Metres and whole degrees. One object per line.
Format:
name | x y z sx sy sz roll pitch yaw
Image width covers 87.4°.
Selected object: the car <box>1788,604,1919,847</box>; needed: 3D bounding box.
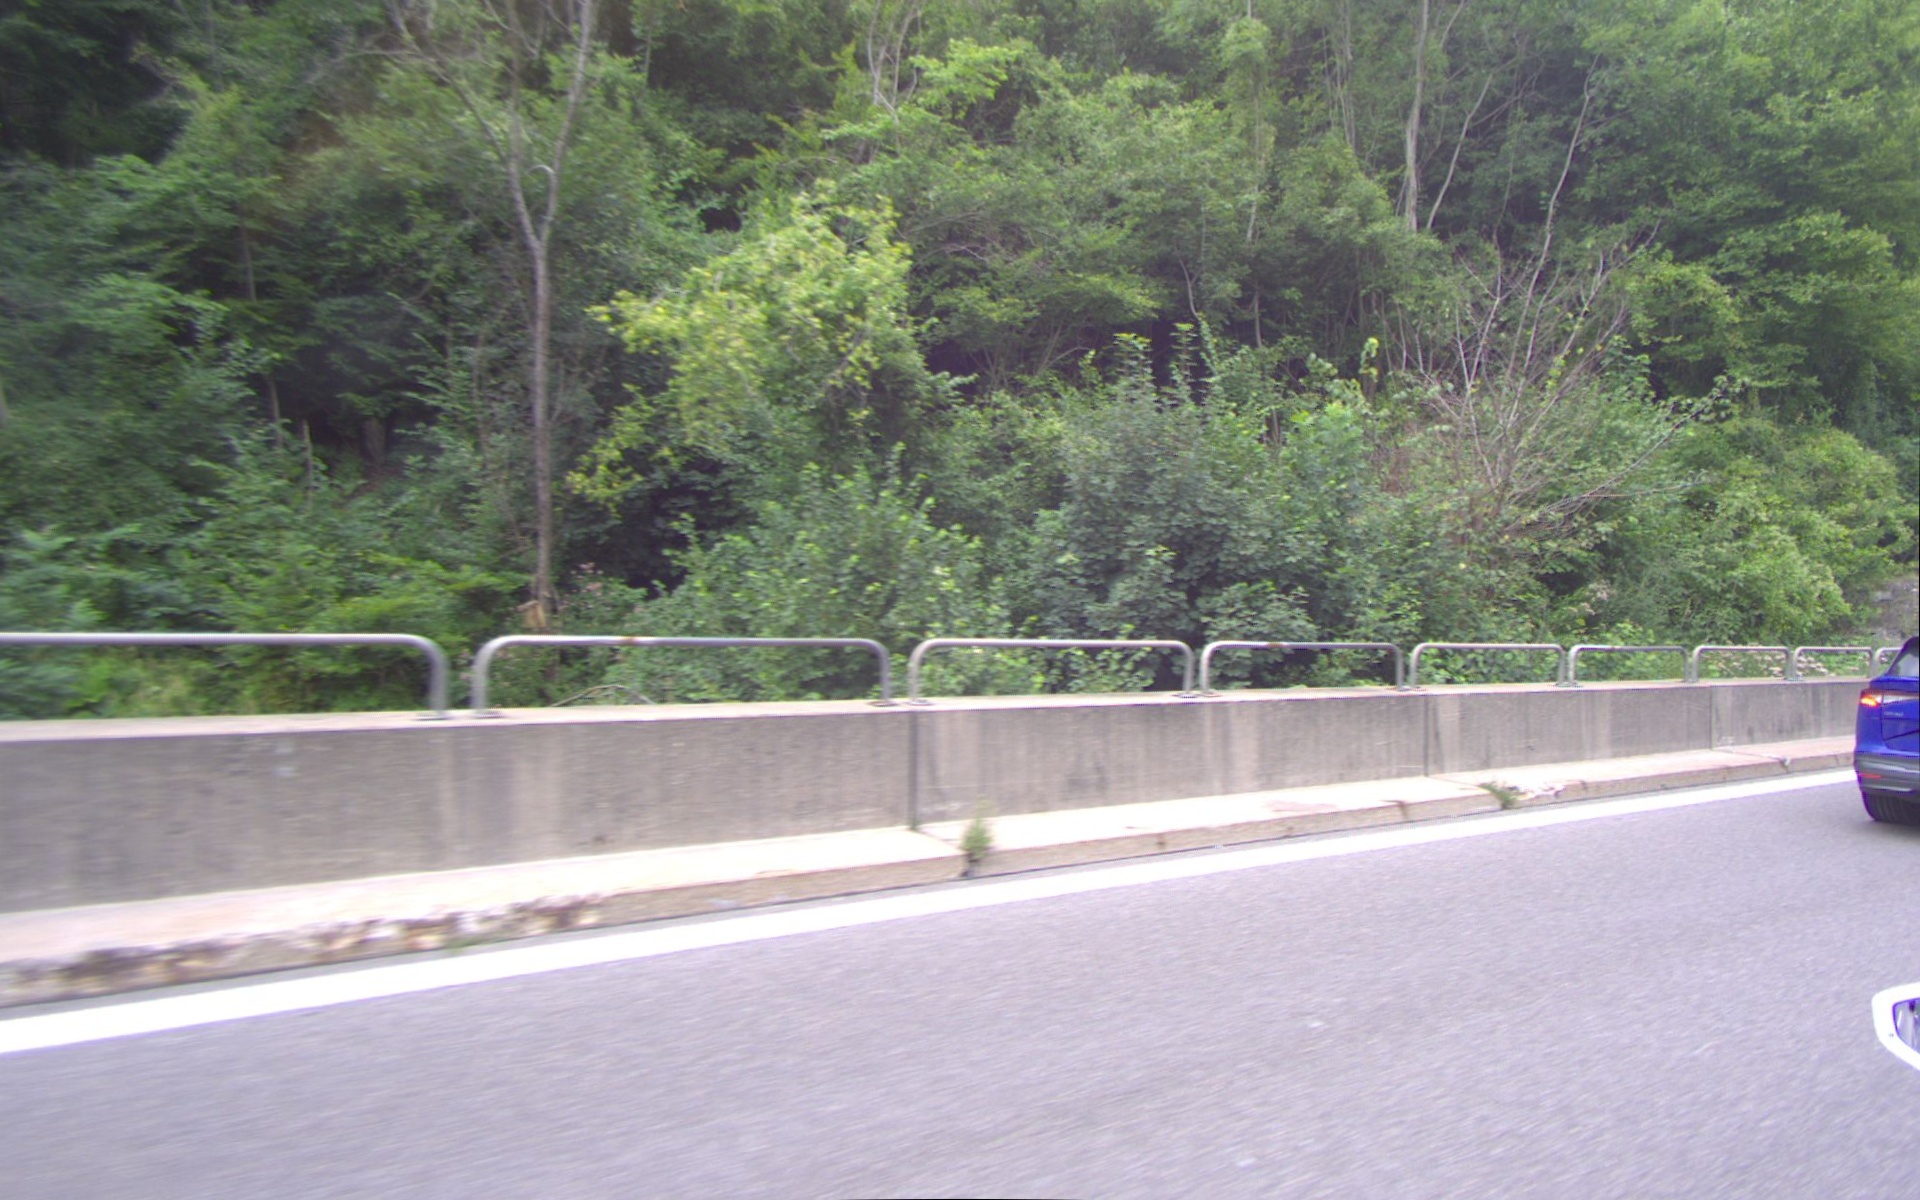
car | 8.800 0.898 7.863 4.949 1.654 1.984 1 -1 -30
